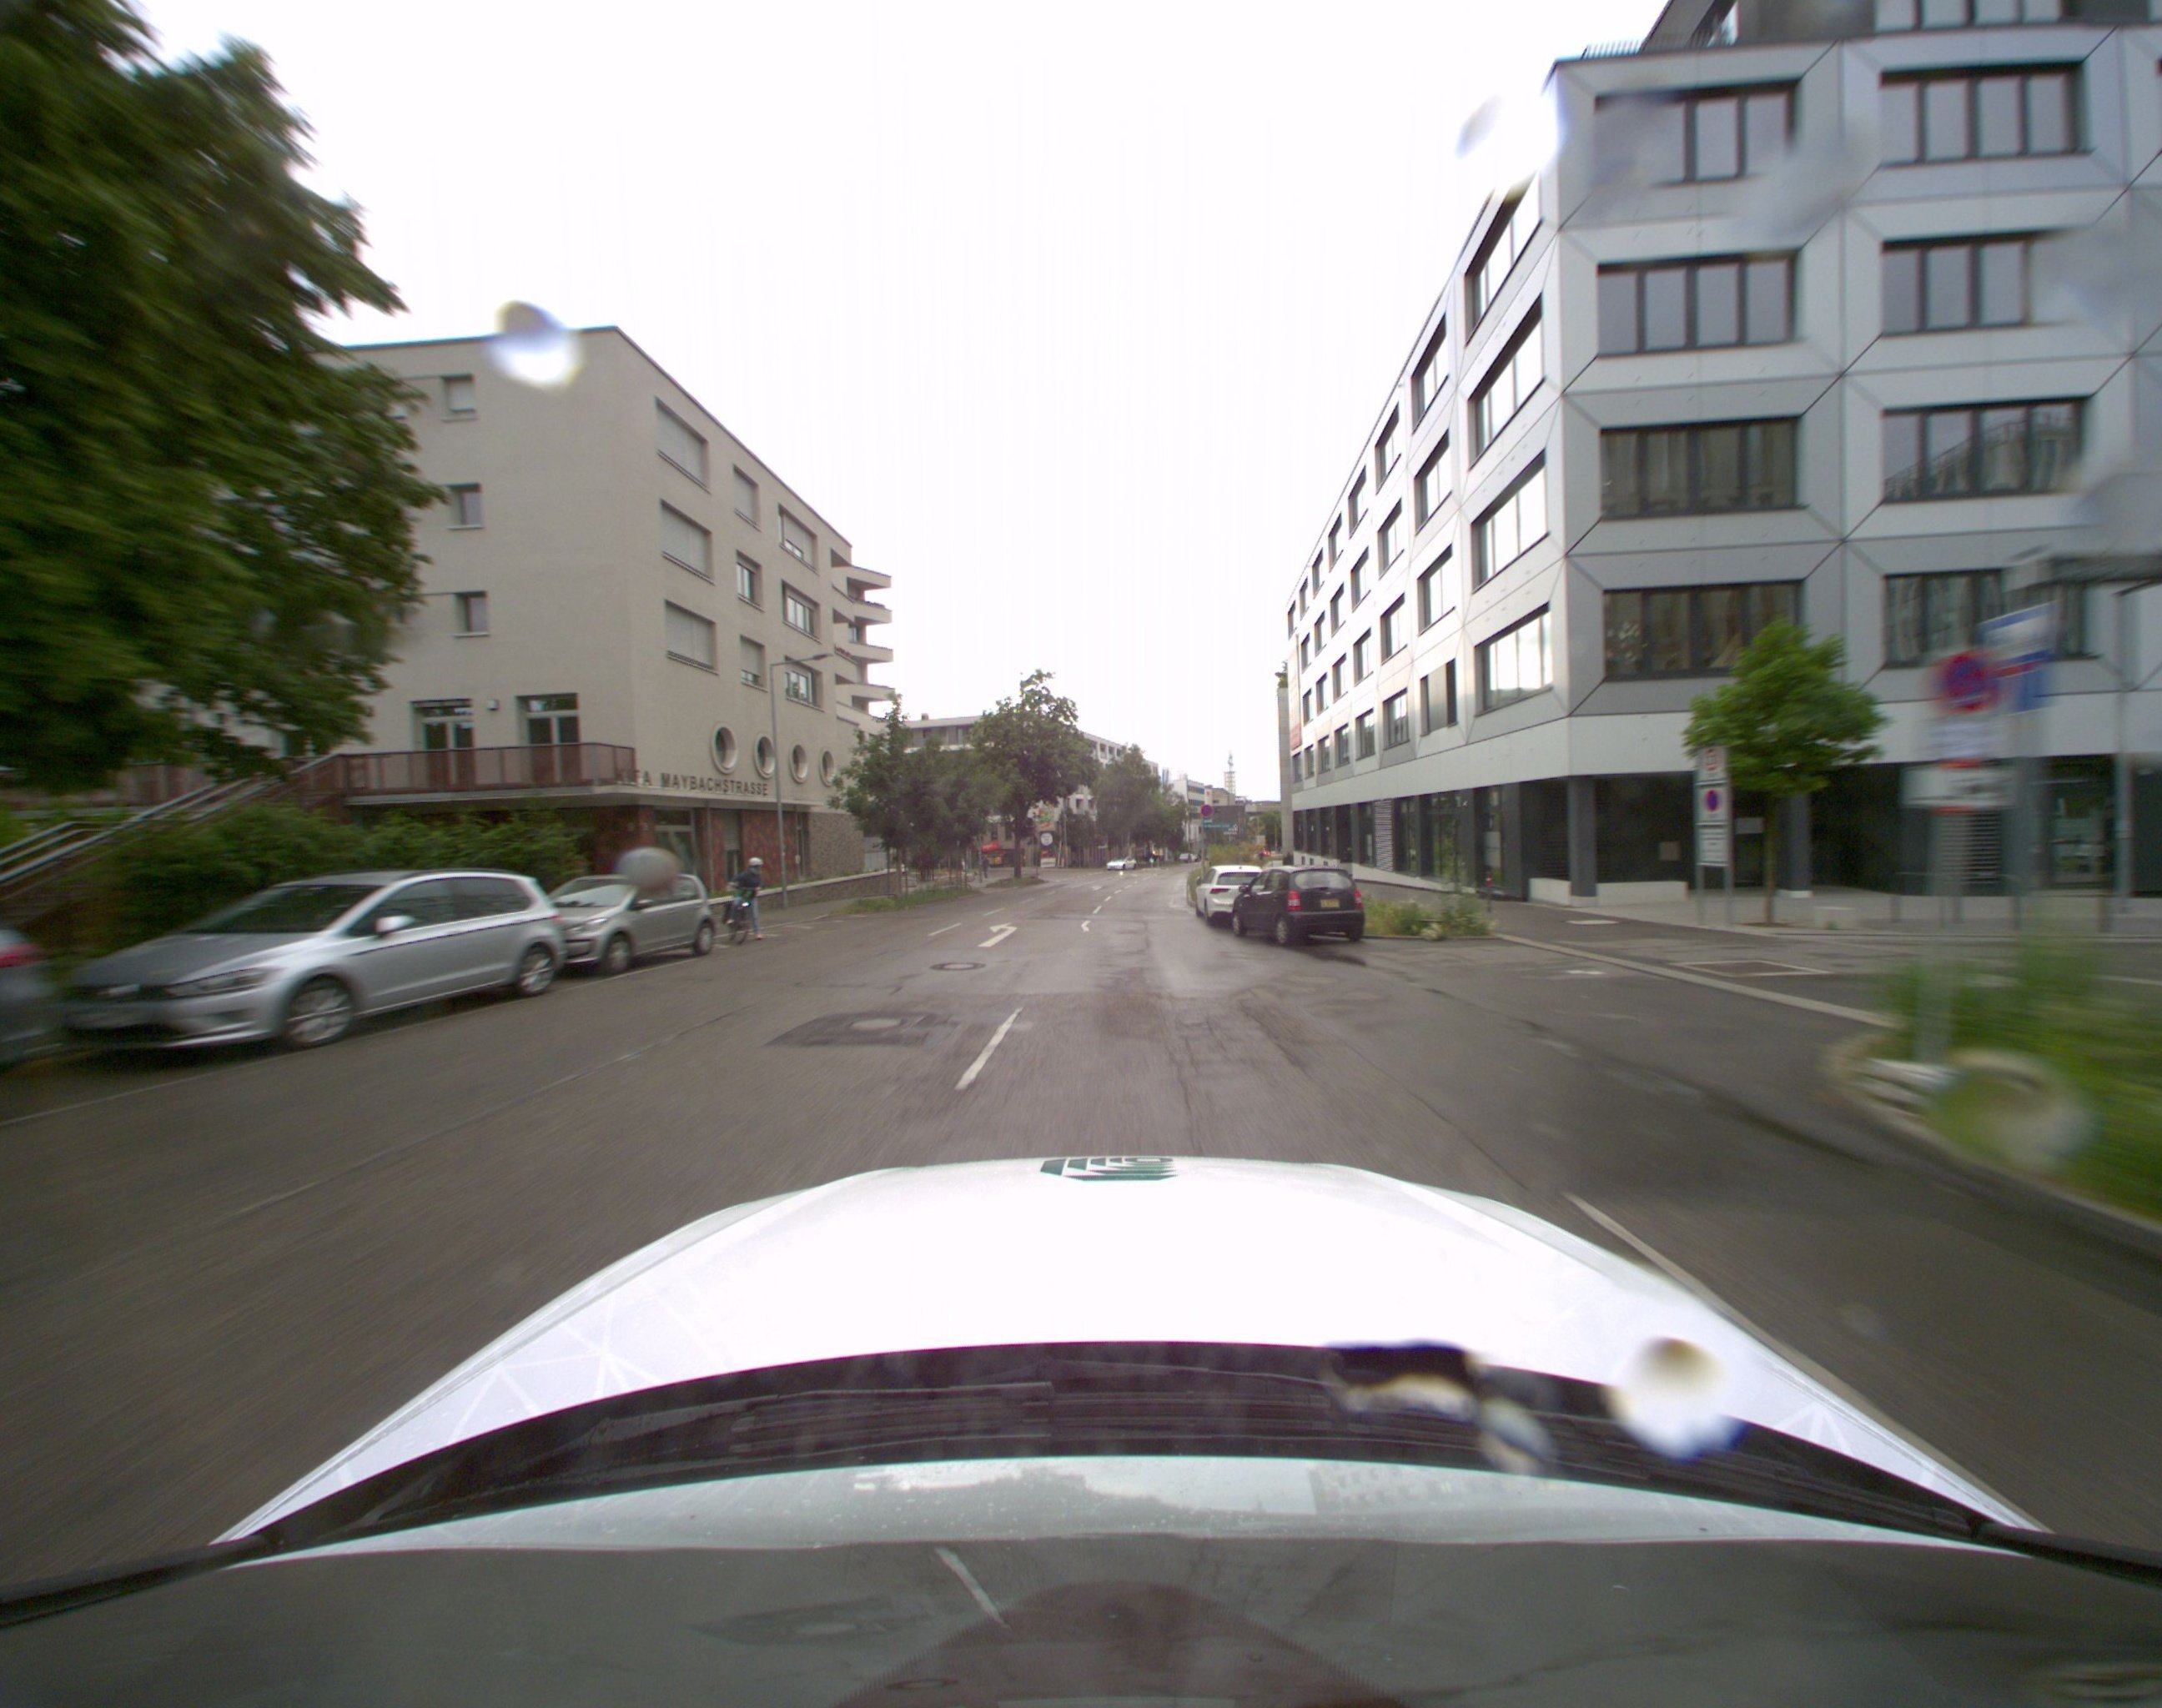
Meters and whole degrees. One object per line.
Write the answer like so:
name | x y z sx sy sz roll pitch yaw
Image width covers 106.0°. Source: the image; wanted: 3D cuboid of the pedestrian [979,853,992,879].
pedestrian | -7.677 0.968 65.500 1.053 2.014 1.098 0 -1 -4

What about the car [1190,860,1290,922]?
car | 4.084 0.906 21.662 2.031 1.464 4.506 0 0 3

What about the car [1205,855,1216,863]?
car | 26.558 1.021 166.933 1.900 1.481 4.373 0 -1 14

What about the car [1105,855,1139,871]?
car | 4.408 0.966 87.516 2.038 1.661 4.848 -1 0 24

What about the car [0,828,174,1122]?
car | -7.678 0.716 3.174 1.985 1.786 5.416 0 -1 4

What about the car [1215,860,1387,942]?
car | 4.372 0.869 16.930 2.043 1.458 4.044 0 0 -8

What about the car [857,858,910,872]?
car | -19.532 1.100 80.575 4.652 1.292 2.008 0 -1 15

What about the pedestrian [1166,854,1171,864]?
pedestrian | 15.201 0.830 141.343 0.703 1.683 0.960 -1 0 13

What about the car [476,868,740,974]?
car | -7.432 0.965 13.320 1.871 1.463 3.851 0 -1 4

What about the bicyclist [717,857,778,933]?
bicyclist | -6.895 0.833 16.900 0.799 1.523 1.200 0 -1 -3

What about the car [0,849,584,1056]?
car | -7.686 0.791 8.552 1.981 1.593 4.493 0 -1 3

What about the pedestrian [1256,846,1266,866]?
pedestrian | 16.571 0.160 75.185 0.817 1.796 1.211 -2 -1 11

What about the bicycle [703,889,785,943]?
bicycle | -6.885 1.240 16.778 0.799 0.979 2.253 0 -1 -2
